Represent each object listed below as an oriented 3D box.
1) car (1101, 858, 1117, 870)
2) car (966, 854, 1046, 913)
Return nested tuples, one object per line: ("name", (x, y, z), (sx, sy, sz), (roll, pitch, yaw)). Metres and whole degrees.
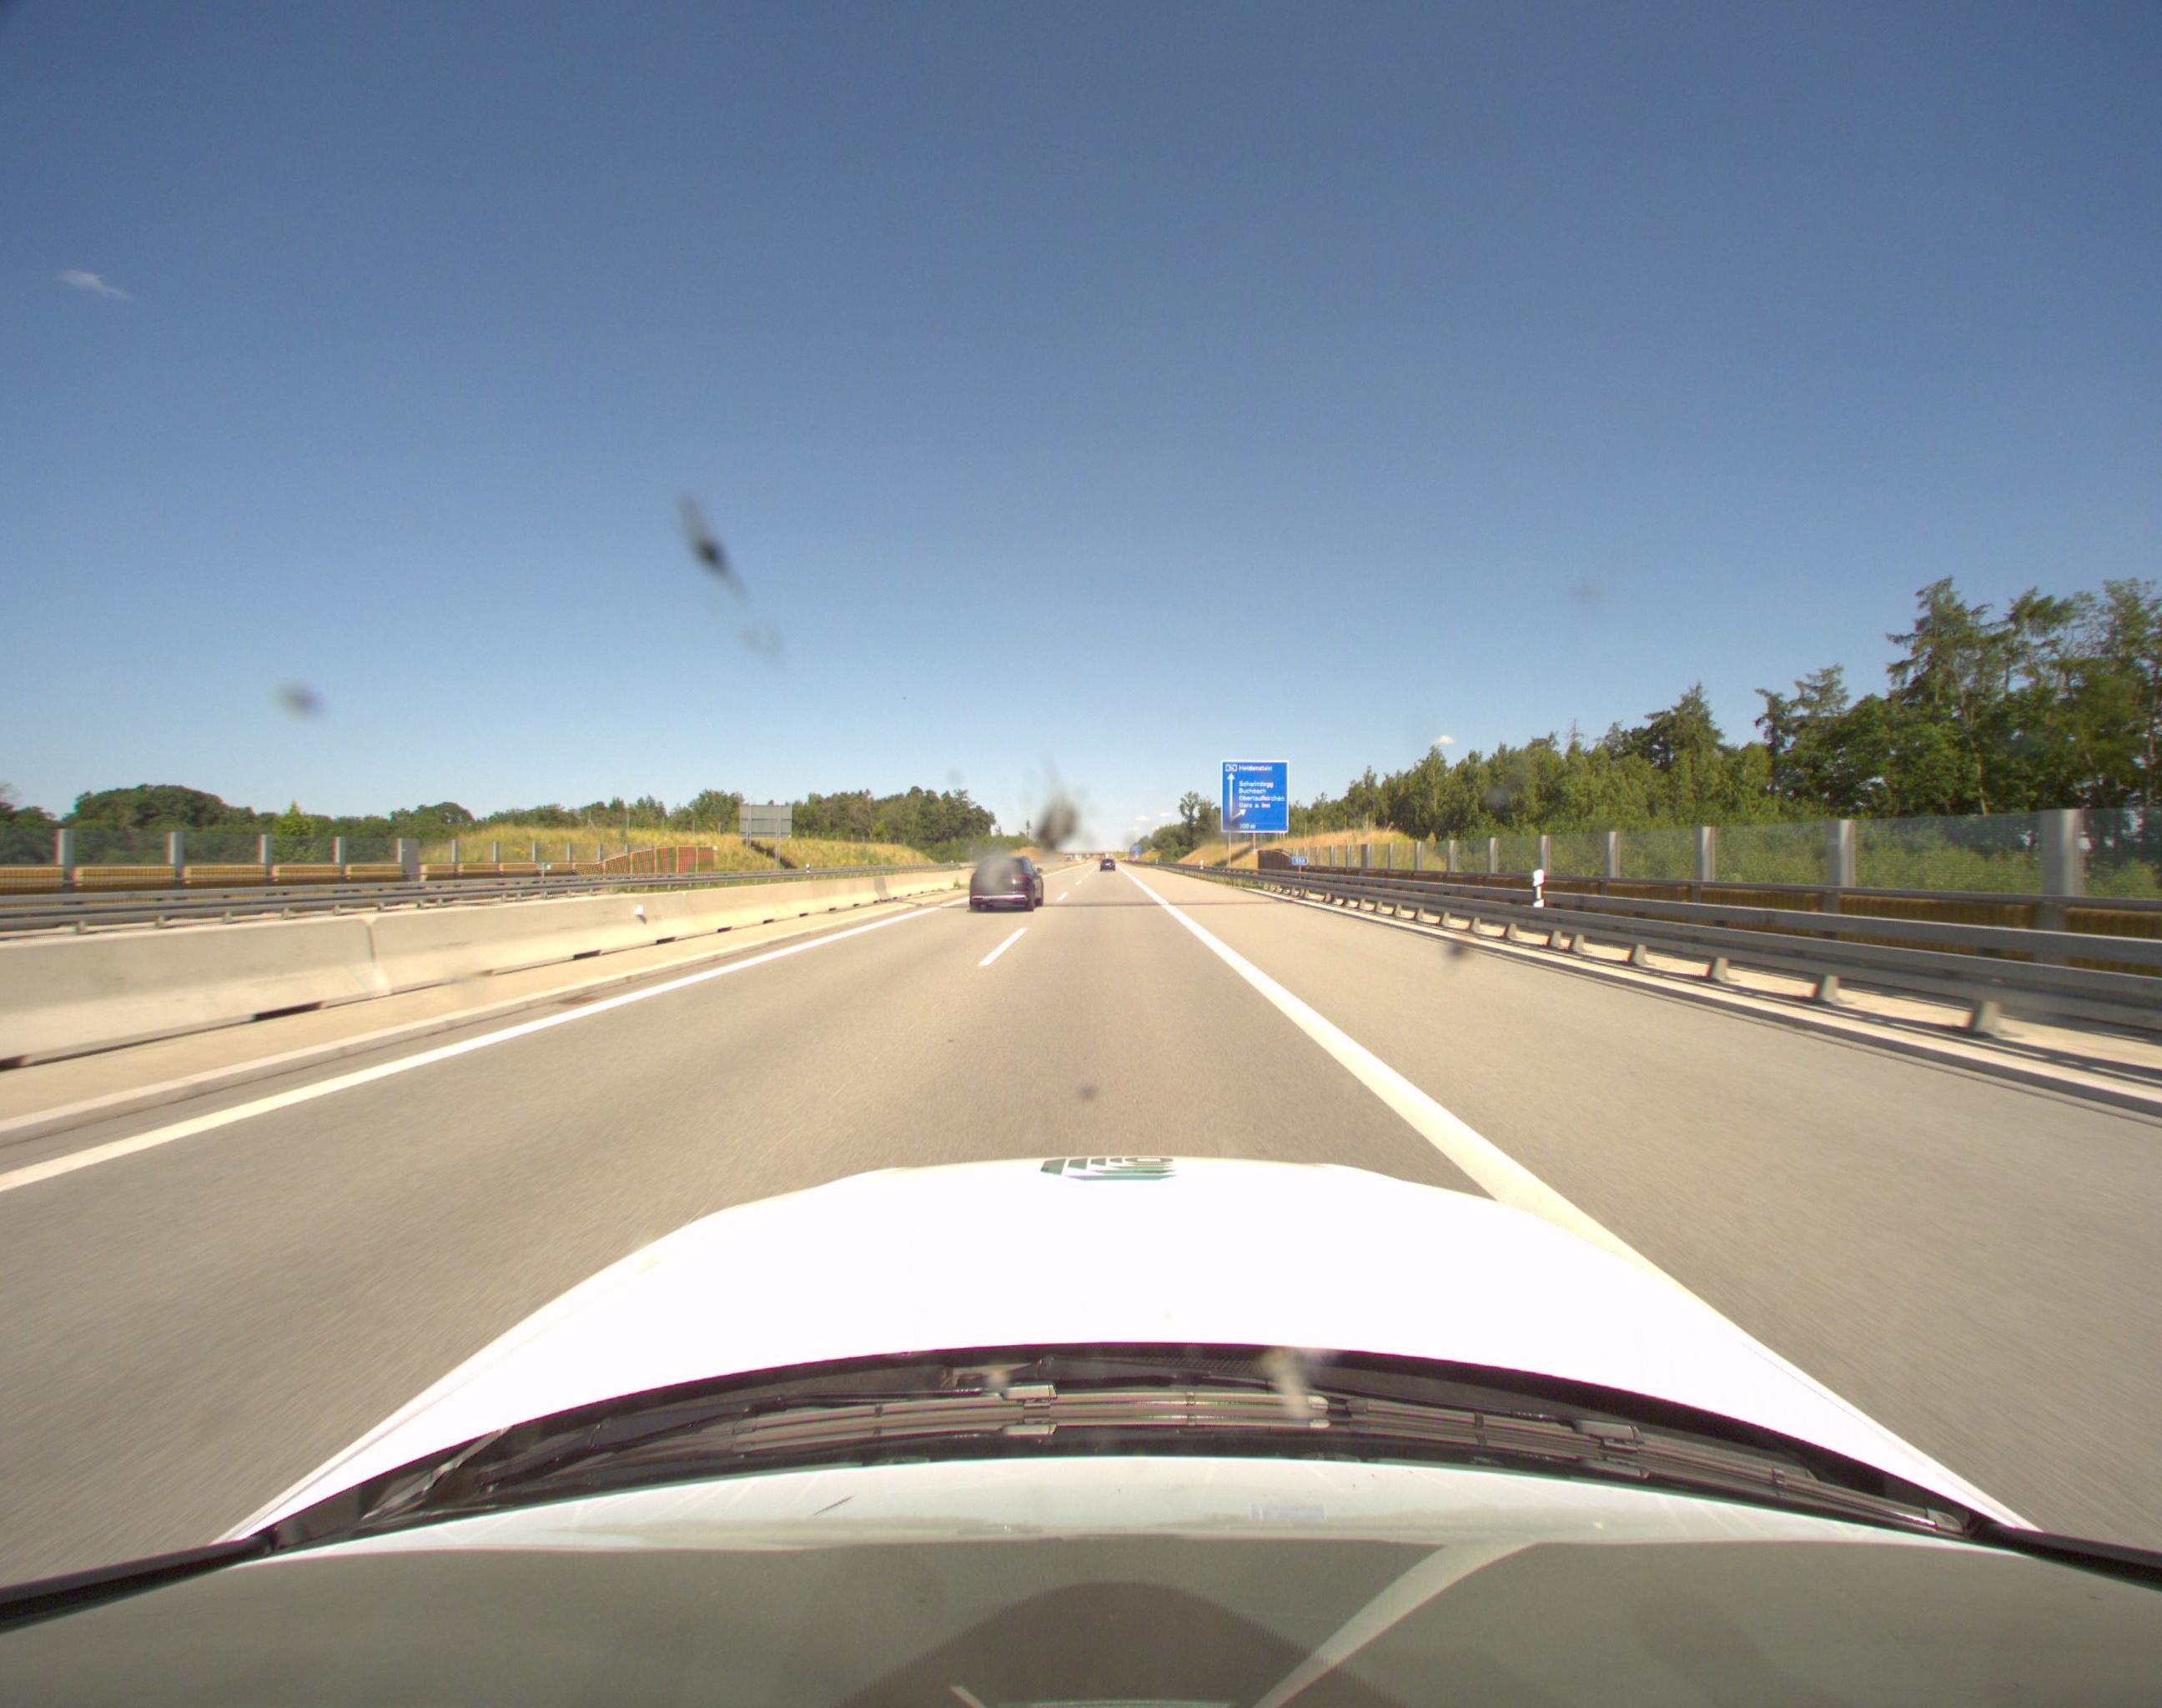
("car", (3.227, 1.137, 94.366), (1.783, 1.374, 3.919), (-1, 0, 2))
("car", (-2.156, 0.808, 24.806), (1.715, 1.587, 5.225), (-1, 0, 2))
